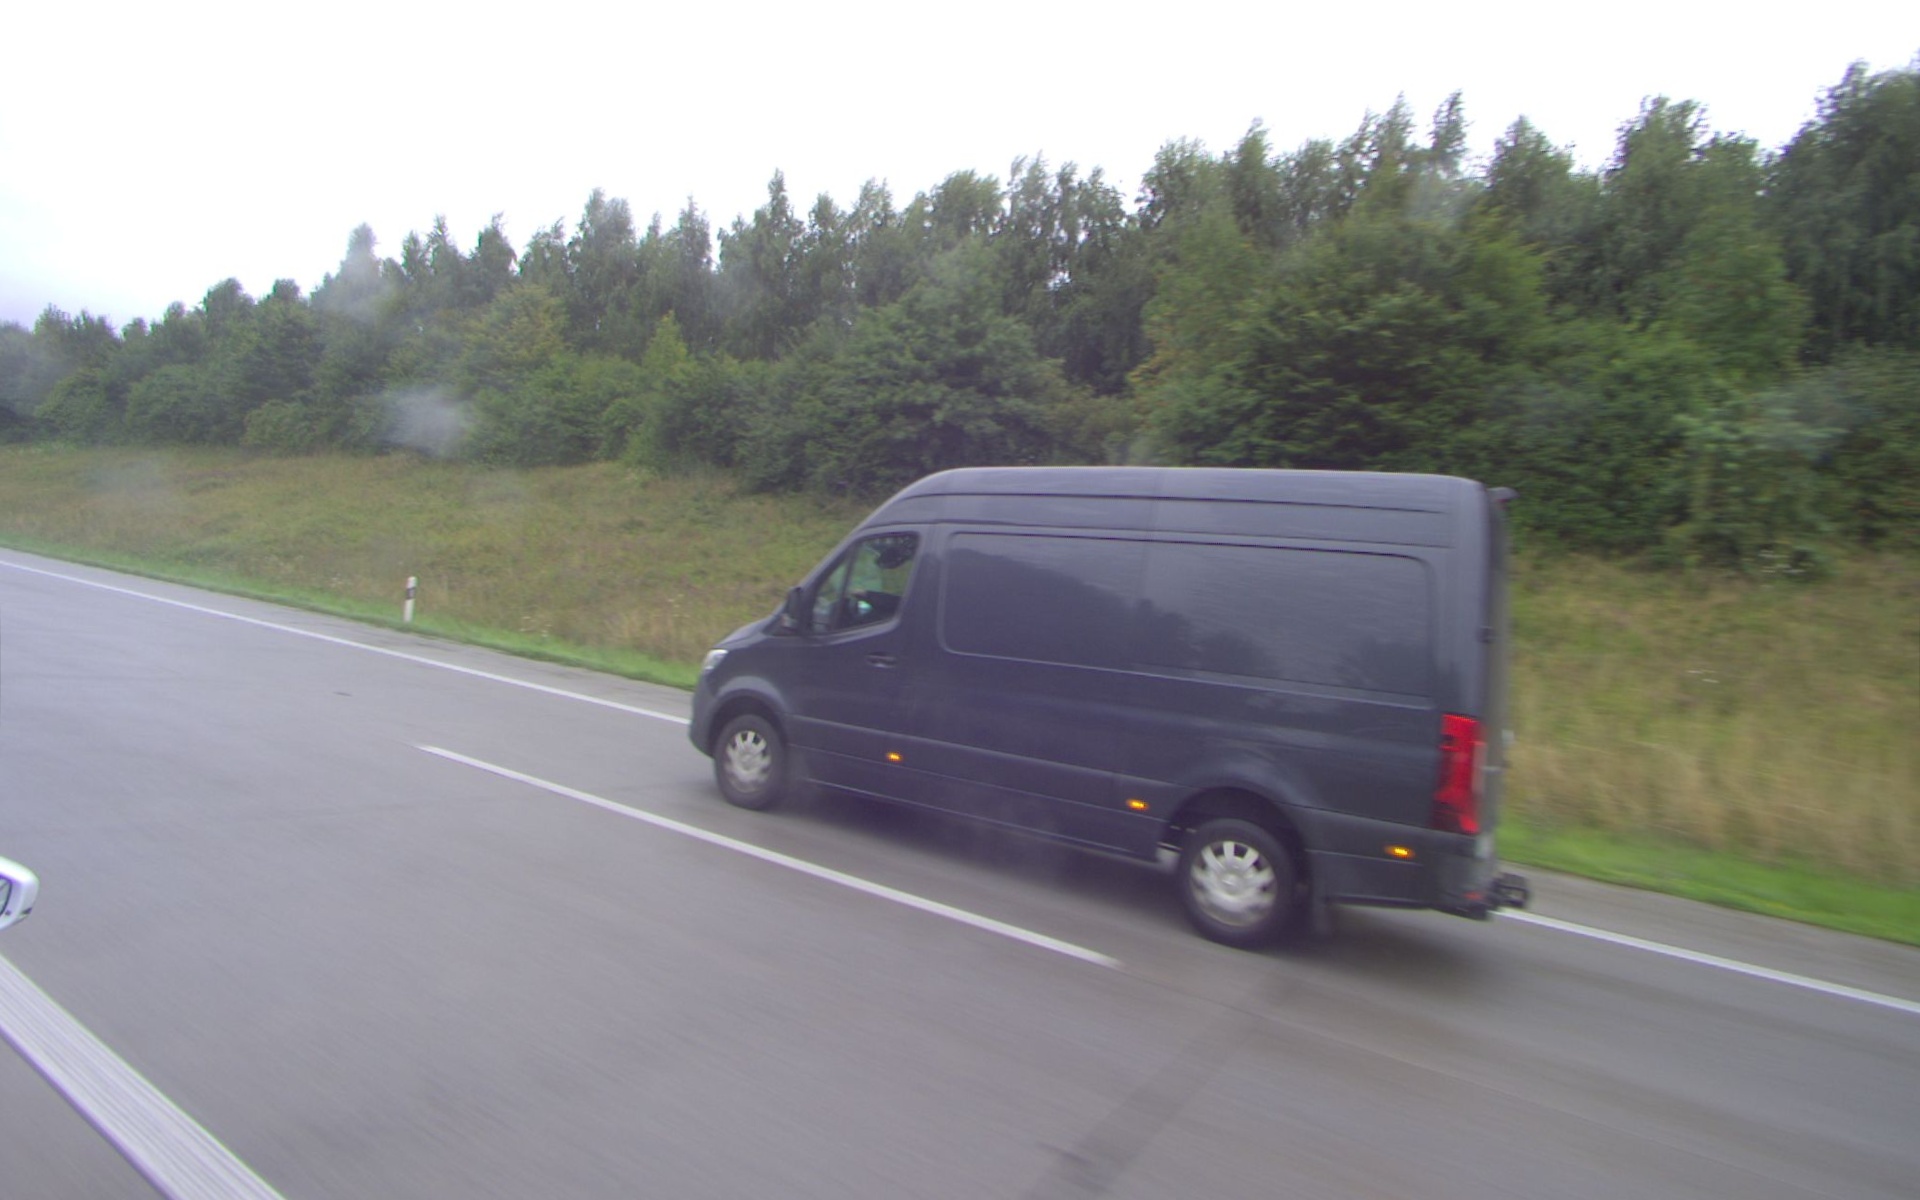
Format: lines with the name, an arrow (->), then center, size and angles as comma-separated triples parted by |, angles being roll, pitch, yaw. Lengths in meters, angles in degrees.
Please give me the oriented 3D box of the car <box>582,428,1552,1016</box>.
car -> 0.328, 0.365, 7.231 | 6.478, 2.690, 1.944 | 7, -1, 33
